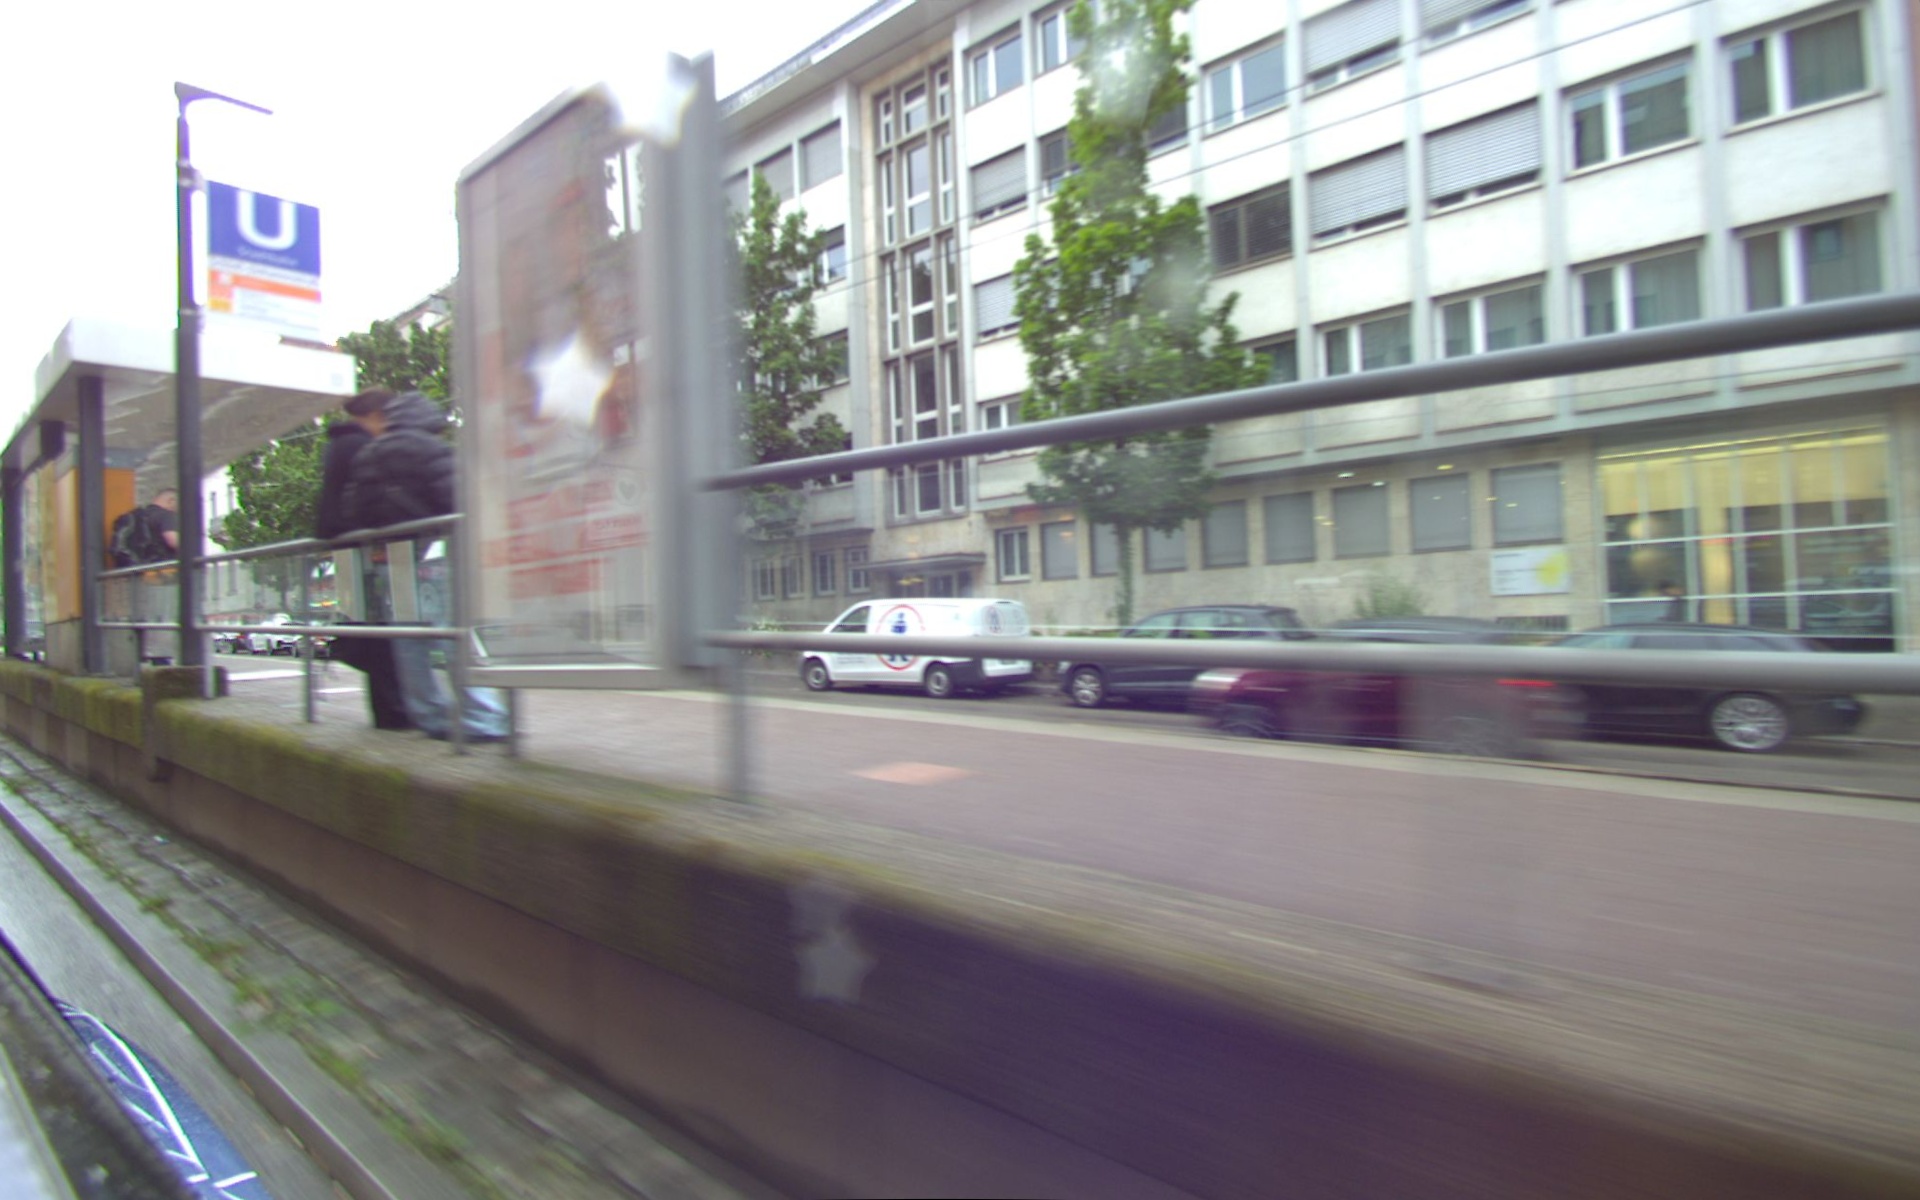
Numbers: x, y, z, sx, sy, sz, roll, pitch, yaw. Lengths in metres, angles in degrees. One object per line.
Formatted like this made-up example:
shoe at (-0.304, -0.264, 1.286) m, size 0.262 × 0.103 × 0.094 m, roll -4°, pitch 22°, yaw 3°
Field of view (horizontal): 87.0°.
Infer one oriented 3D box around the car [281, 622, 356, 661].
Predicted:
car at (-26.820, 1.711, 42.298) m, size 4.021 × 1.549 × 1.621 m, roll -1°, pitch -1°, yaw 42°

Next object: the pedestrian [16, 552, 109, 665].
pedestrian at (-10.837, 0.111, 12.221) m, size 0.700 × 1.312 × 0.720 m, roll -1°, pitch -2°, yaw 39°

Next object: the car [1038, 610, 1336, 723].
car at (3.461, 0.955, 15.989) m, size 4.370 × 1.548 × 1.621 m, roll -1°, pitch -1°, yaw 42°

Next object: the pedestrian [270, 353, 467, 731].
pedestrian at (-2.794, -0.241, 4.784) m, size 0.700 × 1.621 × 0.577 m, roll -1°, pitch -2°, yaw 39°

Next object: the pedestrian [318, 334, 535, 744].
pedestrian at (-2.269, -0.226, 4.309) m, size 0.700 × 1.569 × 0.577 m, roll -1°, pitch -2°, yaw 39°

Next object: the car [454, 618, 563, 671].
car at (-14.021, 1.346, 31.338) m, size 3.801 × 1.551 × 1.622 m, roll -1°, pitch -1°, yaw 40°

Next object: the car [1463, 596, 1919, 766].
car at (8.347, 0.816, 11.579) m, size 4.370 × 1.636 × 1.621 m, roll -1°, pitch -1°, yaw 42°

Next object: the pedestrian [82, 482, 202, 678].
pedestrian at (-7.519, -0.165, 9.306) m, size 0.700 × 1.706 × 0.704 m, roll -1°, pitch -2°, yaw 39°

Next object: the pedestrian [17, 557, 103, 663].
pedestrian at (-11.543, 0.133, 12.985) m, size 0.700 × 1.312 × 0.720 m, roll -1°, pitch -2°, yaw 41°

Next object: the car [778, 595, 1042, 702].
car at (-1.108, 0.900, 19.967) m, size 5.249 × 1.858 × 1.889 m, roll -1°, pitch -1°, yaw 38°

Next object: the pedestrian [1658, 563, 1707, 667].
pedestrian at (11.254, 0.236, 15.783) m, size 0.584 × 1.569 × 0.692 m, roll -1°, pitch -2°, yaw 35°

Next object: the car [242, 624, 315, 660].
car at (-31.188, 1.887, 46.241) m, size 4.335 × 1.596 × 1.641 m, roll -1°, pitch -1°, yaw 40°

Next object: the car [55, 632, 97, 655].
car at (-58.818, 2.888, 67.295) m, size 3.962 × 1.473 × 1.621 m, roll -1°, pitch -1°, yaw 42°

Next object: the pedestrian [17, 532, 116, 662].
pedestrian at (-12.470, -0.030, 14.133) m, size 0.700 × 1.737 × 0.907 m, roll -1°, pitch -2°, yaw 39°

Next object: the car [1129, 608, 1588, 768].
car at (4.316, 0.858, 11.395) m, size 4.525 × 1.473 × 1.675 m, roll -1°, pitch -1°, yaw 39°

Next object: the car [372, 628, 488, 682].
car at (-14.488, 1.455, 27.611) m, size 3.734 × 1.348 × 1.621 m, roll -1°, pitch -1°, yaw 42°

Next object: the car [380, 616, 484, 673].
car at (-18.288, 1.487, 34.963) m, size 4.429 × 1.831 × 1.657 m, roll -1°, pitch -1°, yaw 40°

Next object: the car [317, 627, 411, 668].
car at (-22.659, 1.751, 38.435) m, size 4.726 × 1.451 × 1.622 m, roll -1°, pitch -1°, yaw 40°
